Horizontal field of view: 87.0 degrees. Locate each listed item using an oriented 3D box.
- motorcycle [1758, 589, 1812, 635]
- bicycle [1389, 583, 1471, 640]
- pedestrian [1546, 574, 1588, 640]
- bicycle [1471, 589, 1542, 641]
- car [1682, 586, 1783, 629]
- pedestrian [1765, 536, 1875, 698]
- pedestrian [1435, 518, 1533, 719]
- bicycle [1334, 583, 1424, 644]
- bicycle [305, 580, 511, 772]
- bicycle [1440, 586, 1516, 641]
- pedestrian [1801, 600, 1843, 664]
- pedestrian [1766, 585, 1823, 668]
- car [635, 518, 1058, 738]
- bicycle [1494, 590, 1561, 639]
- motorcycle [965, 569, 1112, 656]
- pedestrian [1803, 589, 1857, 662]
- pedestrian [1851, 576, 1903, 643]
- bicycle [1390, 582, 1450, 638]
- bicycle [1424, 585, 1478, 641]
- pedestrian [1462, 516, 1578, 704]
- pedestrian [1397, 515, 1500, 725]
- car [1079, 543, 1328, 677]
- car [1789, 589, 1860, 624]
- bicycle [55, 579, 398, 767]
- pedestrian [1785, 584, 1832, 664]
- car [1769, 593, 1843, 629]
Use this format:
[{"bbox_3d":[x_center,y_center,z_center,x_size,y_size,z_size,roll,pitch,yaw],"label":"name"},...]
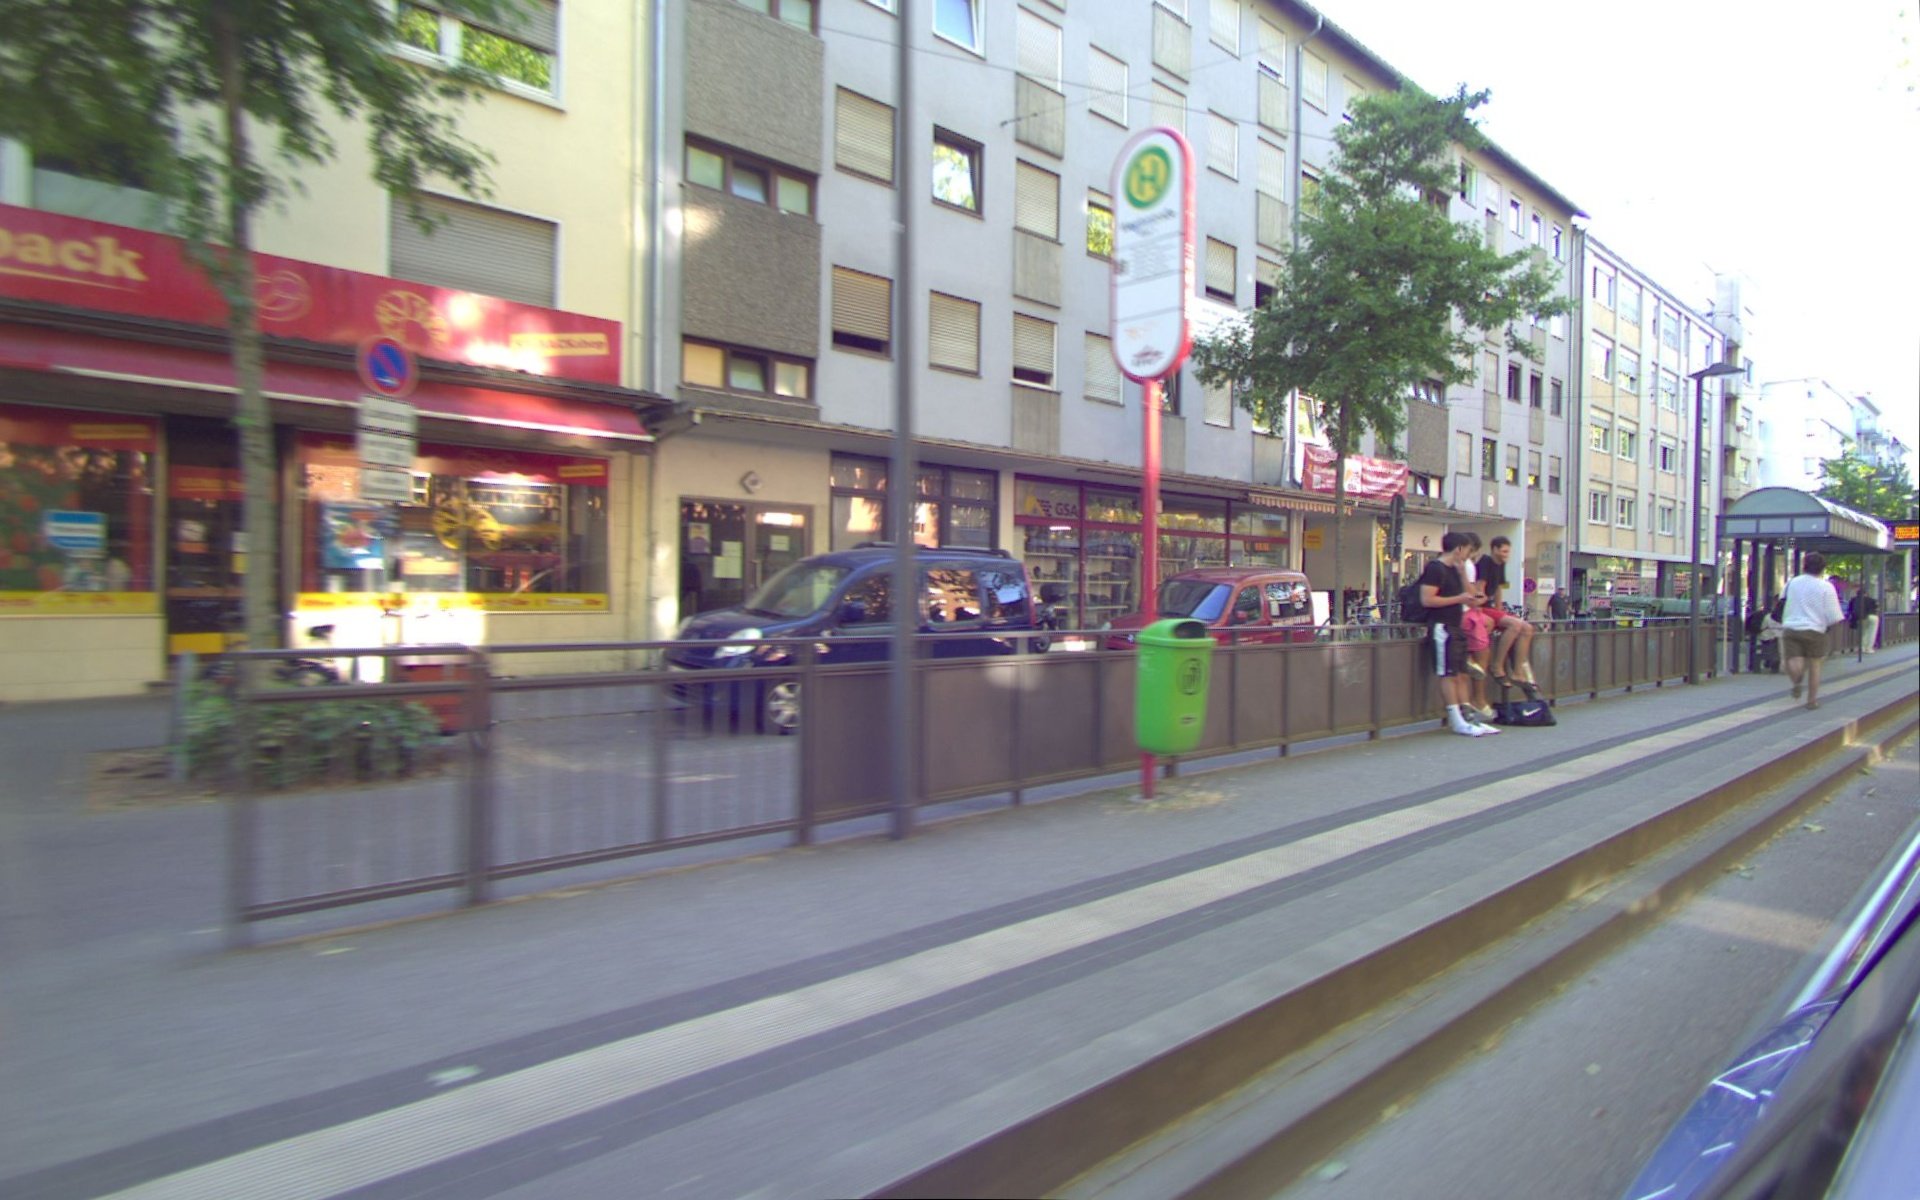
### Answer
[{"bbox_3d":[27.344,0.386,33.537,2.170,1.473,1.054,0,0,-41],"label":"motorcycle"},{"bbox_3d":[11.032,0.261,23.688,0.772,1.194,2.738,8,5,44],"label":"bicycle"},{"bbox_3d":[17.035,0.188,28.418,0.667,1.827,0.774,-1,1,-5],"label":"pedestrian"},{"bbox_3d":[13.997,0.389,25.865,0.772,1.194,2.738,8,5,44],"label":"bicycle"},{"bbox_3d":[28.685,0.248,37.522,4.576,1.502,1.957,0,0,-39],"label":"car"},{"bbox_3d":[9.634,0.178,11.345,0.628,1.734,0.835,0,0,-40],"label":"pedestrian"},{"bbox_3d":[4.884,0.161,9.437,0.689,1.792,0.495,0,0,-26],"label":"pedestrian"},{"bbox_3d":[9.129,0.253,21.958,0.772,1.194,2.738,6,5,44],"label":"bicycle"},{"bbox_3d":[-4.436,0.497,8.039,1.011,1.224,2.209,0,3,-40],"label":"bicycle"},{"bbox_3d":[12.775,0.332,24.919,0.772,1.194,2.738,8,5,44],"label":"bicycle"},{"bbox_3d":[14.647,0.530,17.201,0.519,1.069,0.420,0,0,39],"label":"pedestrian"},{"bbox_3d":[13.831,0.431,16.786,0.717,1.343,0.486,0,0,39],"label":"pedestrian"},{"bbox_3d":[-1.143,0.195,11.056,4.118,1.918,1.999,0,4,-39],"label":"car"},{"bbox_3d":[15.388,0.393,27.402,0.772,1.194,2.738,8,5,44],"label":"bicycle"},{"bbox_3d":[1.411,0.216,17.708,2.605,1.332,0.954,2,5,-43],"label":"motorcycle"},{"bbox_3d":[14.999,0.423,17.457,0.677,1.220,0.640,0,0,39],"label":"pedestrian"},{"bbox_3d":[22.528,0.224,24.856,0.836,1.596,0.650,0,0,-23],"label":"pedestrian"},{"bbox_3d":[11.174,0.221,24.506,0.769,1.194,2.749,7,4,34],"label":"bicycle"},{"bbox_3d":[11.908,0.279,24.492,0.768,1.194,2.750,7,4,32],"label":"bicycle"},{"bbox_3d":[5.430,0.087,9.822,0.844,1.722,0.682,0,0,43],"label":"pedestrian"},{"bbox_3d":[4.350,0.166,9.019,0.687,1.777,0.571,0,0,43],"label":"pedestrian"},{"bbox_3d":[3.794,0.111,15.378,4.103,1.777,1.690,-1,0,-43],"label":"car"},{"bbox_3d":[40.996,0.271,47.966,3.930,1.601,1.997,-1,0,-41],"label":"car"},{"bbox_3d":[-5.644,0.471,7.998,0.677,1.224,2.196,2,2,21],"label":"bicycle"},{"bbox_3d":[14.274,0.398,17.034,0.583,1.322,0.519,-1,0,39],"label":"pedestrian"},{"bbox_3d":[36.936,0.447,44.154,3.930,1.505,1.897,-1,0,-41],"label":"car"}]
